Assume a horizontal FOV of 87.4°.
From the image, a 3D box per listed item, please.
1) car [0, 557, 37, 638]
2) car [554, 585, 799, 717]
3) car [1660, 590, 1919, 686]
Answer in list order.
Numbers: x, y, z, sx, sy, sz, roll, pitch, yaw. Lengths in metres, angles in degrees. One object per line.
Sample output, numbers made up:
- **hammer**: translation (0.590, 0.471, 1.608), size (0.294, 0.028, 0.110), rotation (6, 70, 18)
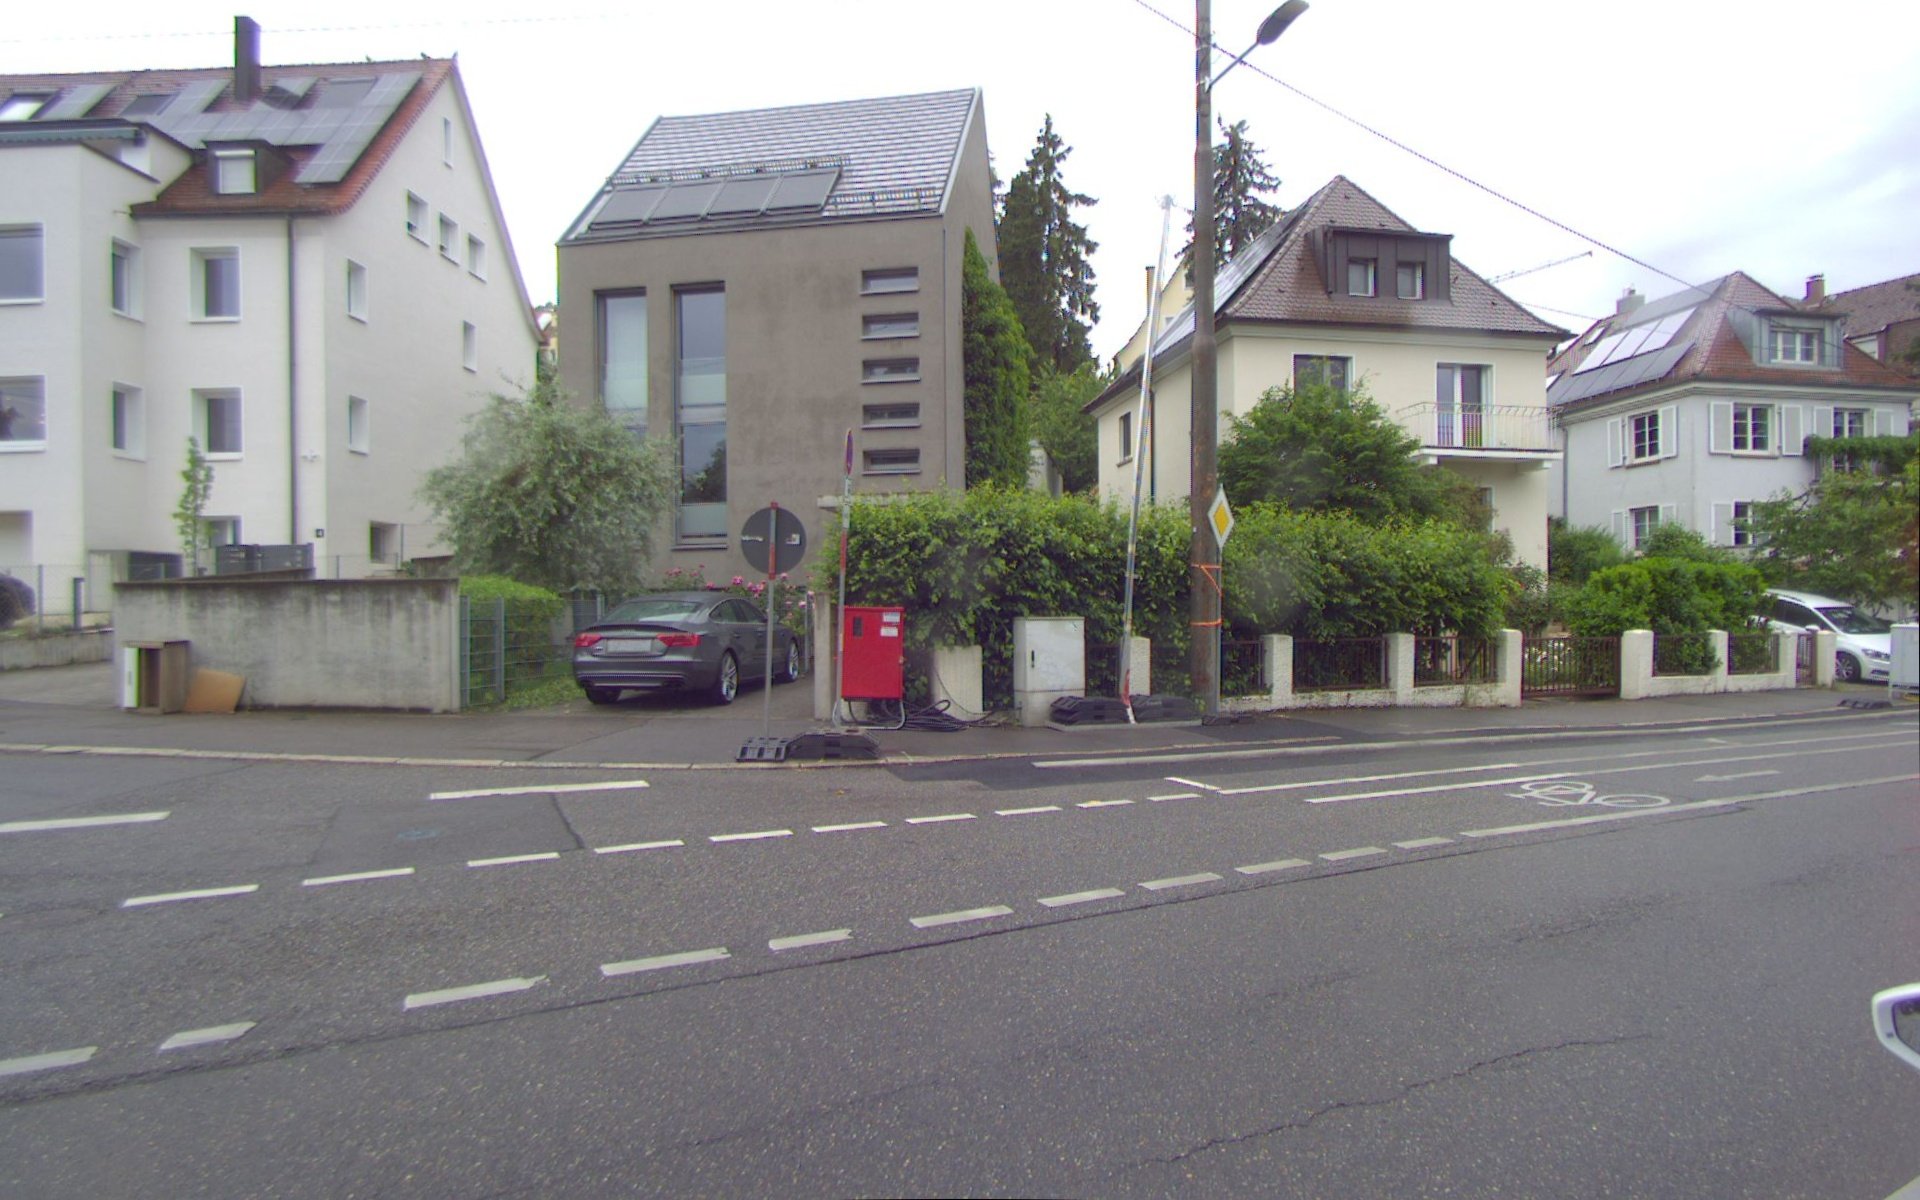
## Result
- **car**: translation (-16.729, 0.045, 15.171), size (1.576, 1.298, 4.008), rotation (2, 4, 6)
- **car**: translation (-3.606, 0.558, 13.578), size (1.740, 1.506, 4.002), rotation (0, 1, 7)
- **car**: translation (19.598, 0.808, 23.915), size (1.870, 2.033, 4.628), rotation (1, 0, -18)
